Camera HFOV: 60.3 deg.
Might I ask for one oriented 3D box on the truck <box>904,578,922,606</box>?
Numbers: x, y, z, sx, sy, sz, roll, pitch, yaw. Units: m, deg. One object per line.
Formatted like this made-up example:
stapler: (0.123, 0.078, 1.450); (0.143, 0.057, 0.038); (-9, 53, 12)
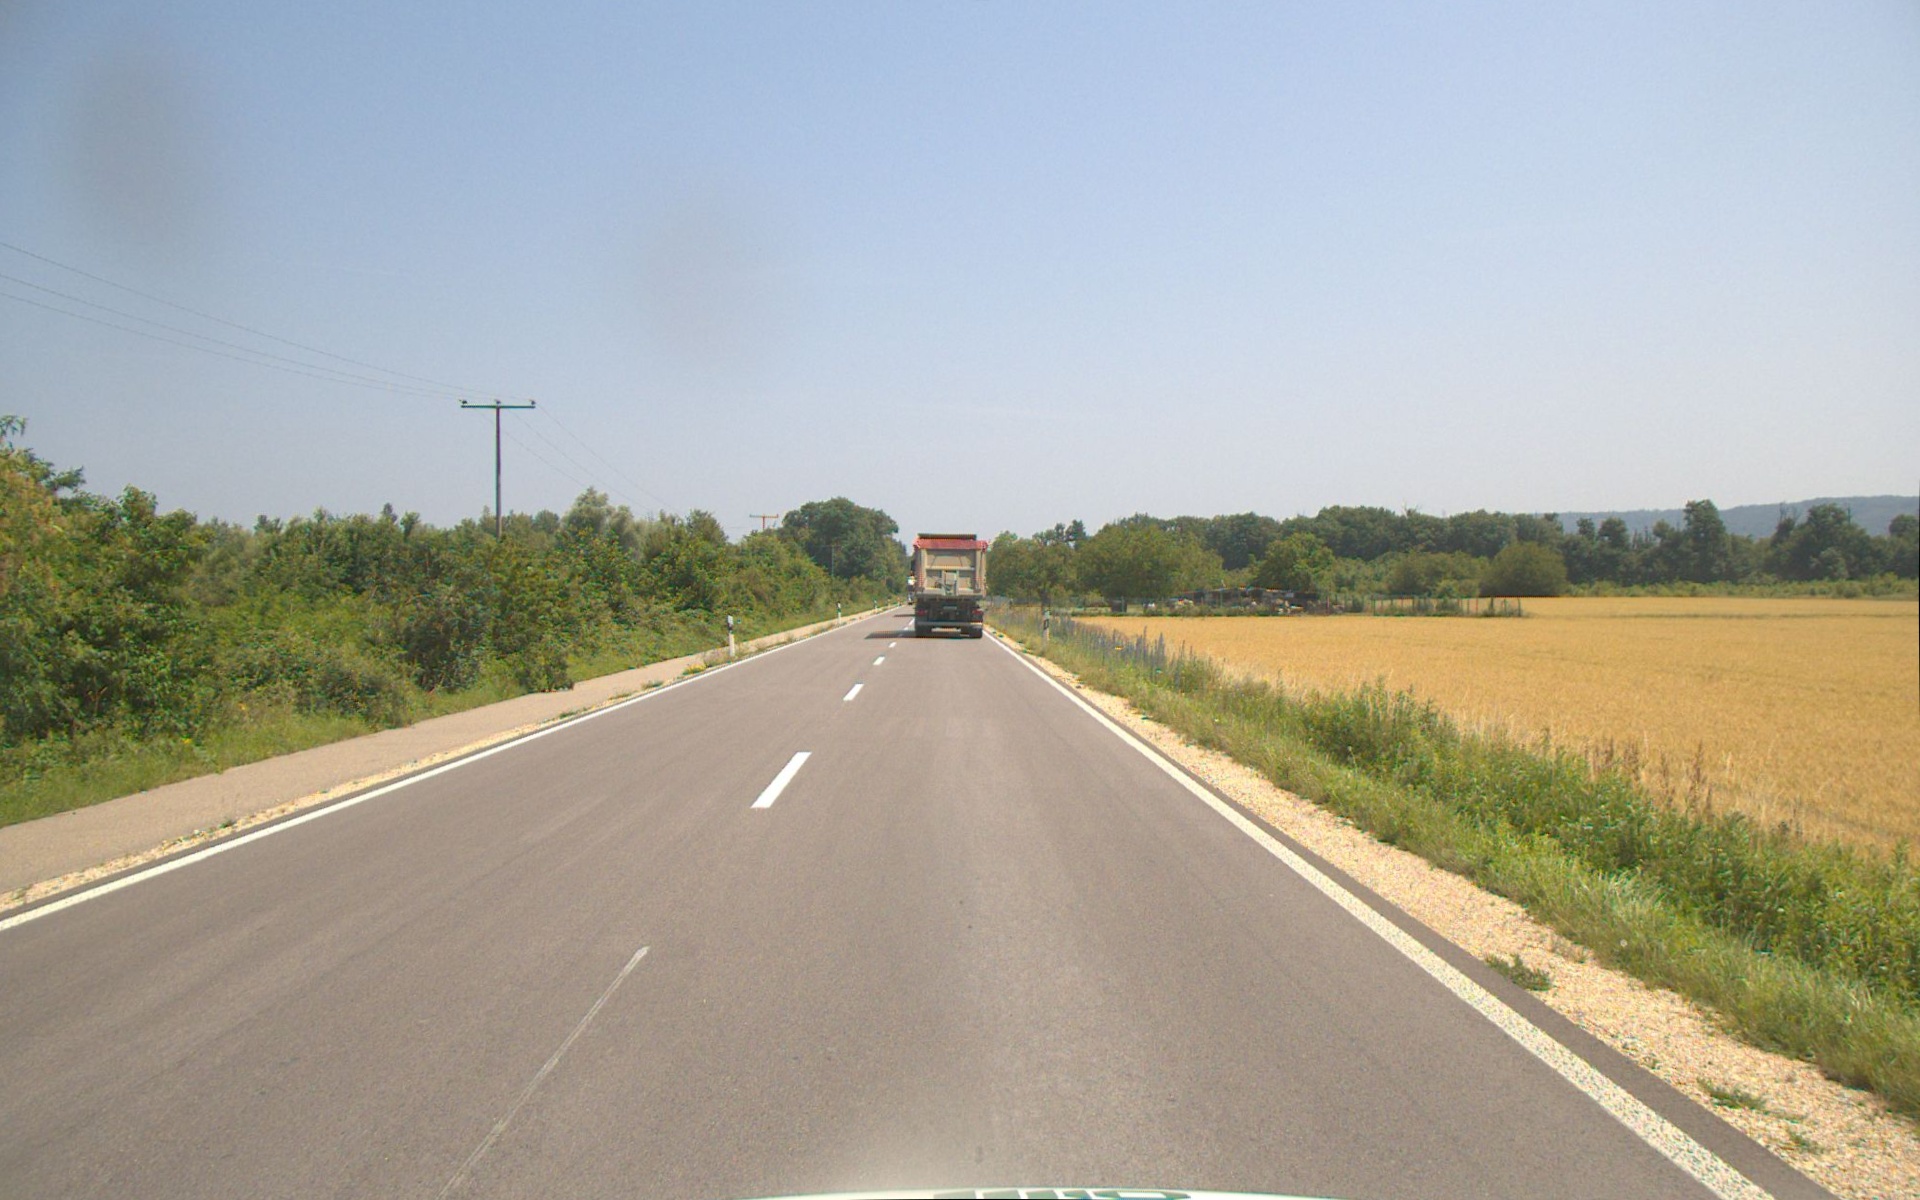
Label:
truck: (-7.450, -1.239, 261.385); (2.662, 4.340, 7.388); (-2, 0, -1)

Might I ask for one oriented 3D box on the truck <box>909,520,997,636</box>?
truck: (-0.364, -0.745, 63.566); (2.948, 3.942, 12.206); (2, 0, -1)

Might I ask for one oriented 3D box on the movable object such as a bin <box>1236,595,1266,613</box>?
movable object such as a bin: (24.454, 0.344, 139.175); (1.540, 1.522, 3.655); (0, 0, -5)
